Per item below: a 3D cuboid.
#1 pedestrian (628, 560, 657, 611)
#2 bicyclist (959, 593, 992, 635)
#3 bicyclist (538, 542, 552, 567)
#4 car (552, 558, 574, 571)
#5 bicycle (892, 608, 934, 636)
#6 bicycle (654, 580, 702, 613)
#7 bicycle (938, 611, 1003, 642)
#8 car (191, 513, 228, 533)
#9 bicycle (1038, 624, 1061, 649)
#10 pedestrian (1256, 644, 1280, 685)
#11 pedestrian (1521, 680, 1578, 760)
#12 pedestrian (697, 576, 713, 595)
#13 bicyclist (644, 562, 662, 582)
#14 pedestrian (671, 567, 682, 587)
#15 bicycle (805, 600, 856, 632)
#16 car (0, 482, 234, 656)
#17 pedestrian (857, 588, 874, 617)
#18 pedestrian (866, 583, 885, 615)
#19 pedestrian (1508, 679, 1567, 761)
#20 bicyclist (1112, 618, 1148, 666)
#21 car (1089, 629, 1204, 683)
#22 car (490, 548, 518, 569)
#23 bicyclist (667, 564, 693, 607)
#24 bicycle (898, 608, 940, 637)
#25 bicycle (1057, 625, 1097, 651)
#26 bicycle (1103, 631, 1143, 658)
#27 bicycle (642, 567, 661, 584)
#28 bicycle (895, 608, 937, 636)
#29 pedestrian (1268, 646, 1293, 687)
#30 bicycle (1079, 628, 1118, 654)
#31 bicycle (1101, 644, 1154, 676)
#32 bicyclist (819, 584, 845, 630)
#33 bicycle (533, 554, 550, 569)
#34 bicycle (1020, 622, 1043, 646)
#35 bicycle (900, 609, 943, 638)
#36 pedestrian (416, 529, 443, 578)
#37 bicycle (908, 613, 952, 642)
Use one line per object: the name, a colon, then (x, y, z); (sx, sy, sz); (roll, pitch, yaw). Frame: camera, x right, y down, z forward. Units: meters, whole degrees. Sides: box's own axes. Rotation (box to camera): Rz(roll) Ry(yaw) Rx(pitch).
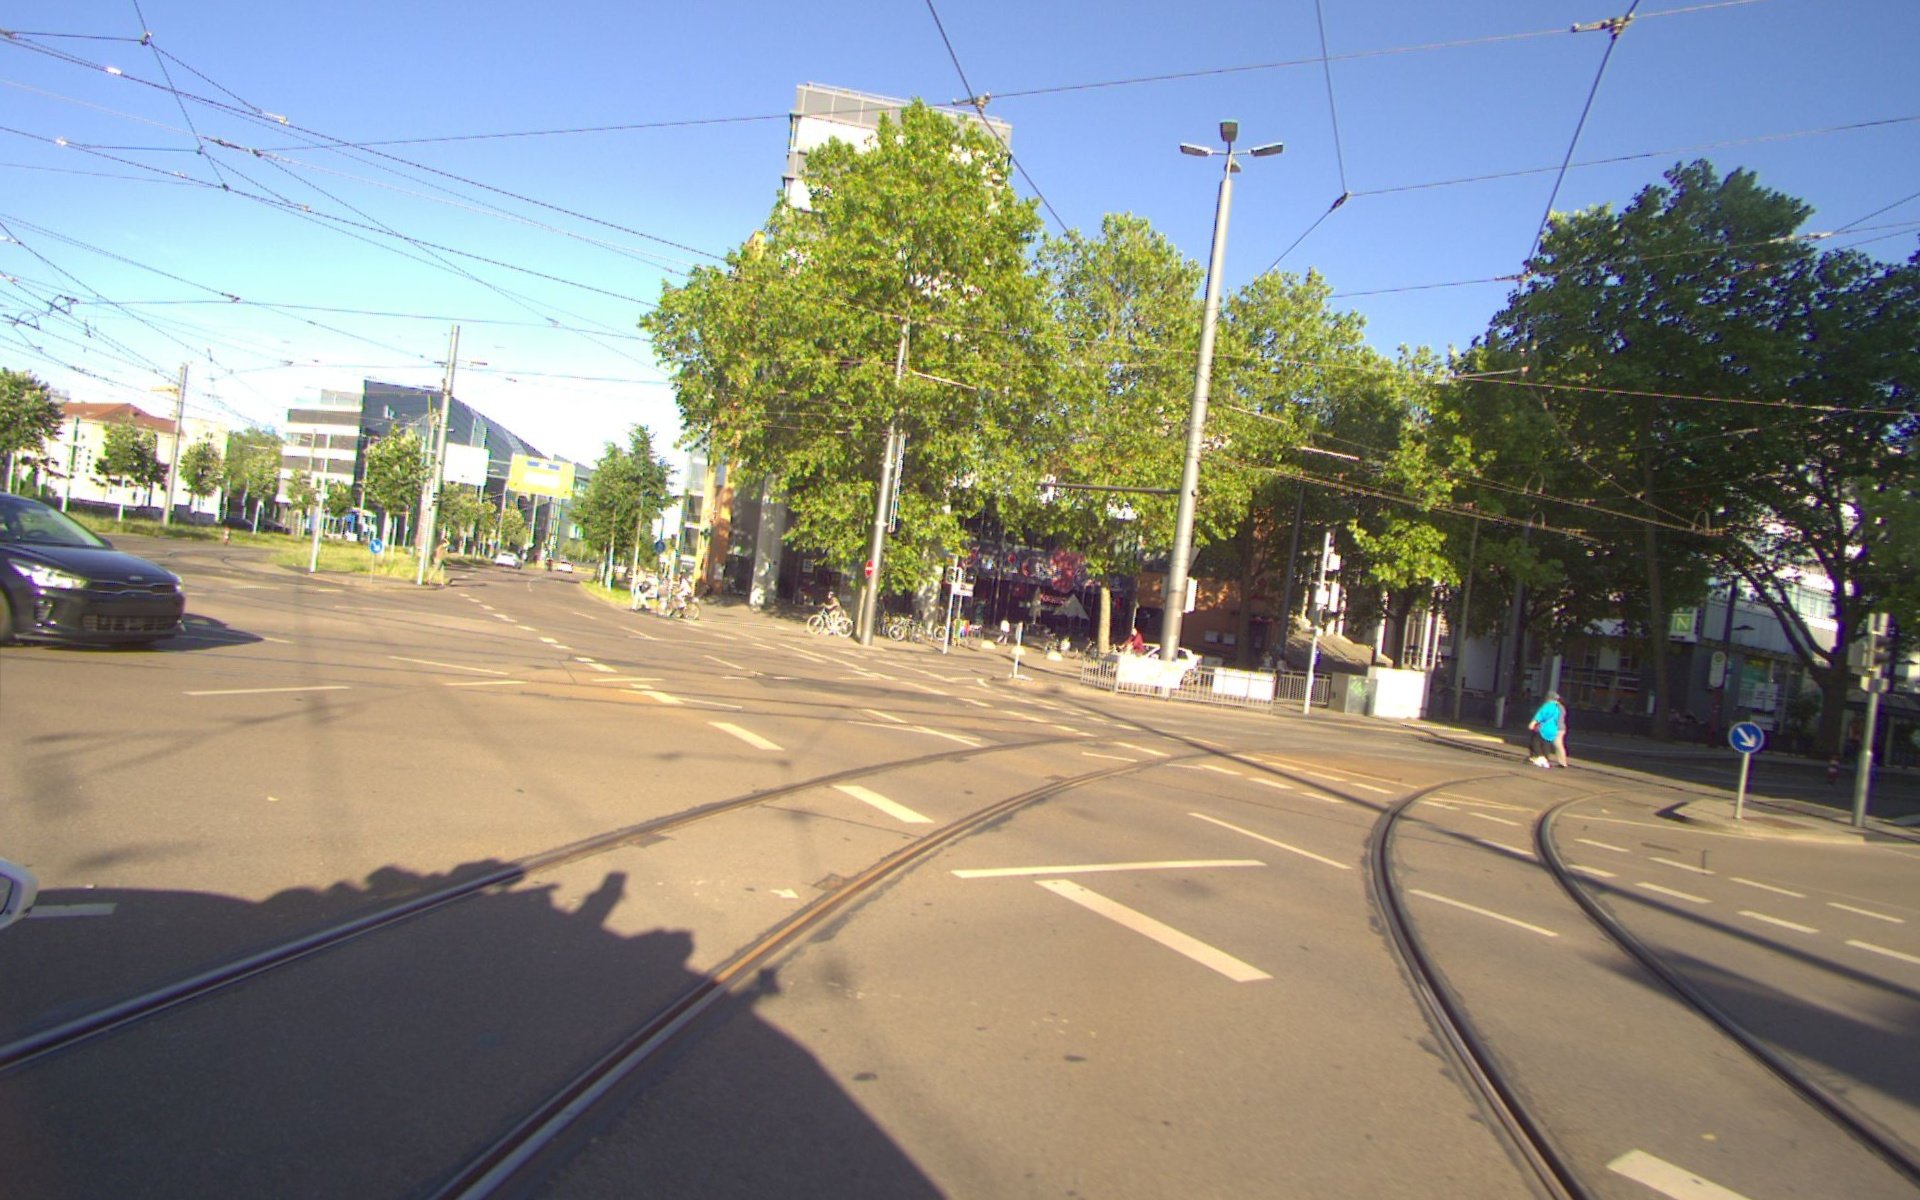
pedestrian: (-12.313, -0.567, 39.009); (0.689, 1.858, 0.515); (8, -1, 2)
bicyclist: (0.770, 0.697, 50.258); (1.212, 1.955, 0.832); (7, 0, -16)
bicyclist: (-47.412, -5.228, 114.911); (1.003, 2.656, 1.468); (7, 0, -13)
car: (-50.013, -4.453, 126.856); (1.991, 1.392, 4.027); (8, -1, -14)
bicycle: (-2.047, 0.958, 44.123); (1.687, 0.998, 0.389); (7, 0, -20)
bicycle: (-10.601, -0.122, 37.816); (1.612, 1.033, 0.513); (7, 0, -24)
bicycle: (0.525, 1.304, 50.213); (3.005, 1.127, 0.832); (8, 0, -16)
car: (-99.317, -10.209, 133.158); (3.926, 2.038, 2.000); (7, 0, 21)
bicycle: (4.563, 1.847, 51.104); (0.861, 1.104, 2.934); (8, 0, 8)
pedestrian: (14.191, 2.982, 46.375); (0.611, 1.798, 0.637); (7, 0, -34)
pedestrian: (12.489, 2.536, 21.318); (0.648, 1.557, 0.734); (9, -1, -41)
pedestrian: (-15.785, -0.915, 62.262); (0.773, 1.070, 0.812); (7, 0, -11)
bicyclist: (-23.793, -2.185, 77.927); (1.029, 1.398, 1.556); (7, 0, -22)
pedestrian: (-23.712, -1.945, 84.213); (0.698, 1.589, 0.620); (7, 1, -19)
bicycle: (-5.059, 0.614, 39.298); (1.834, 1.033, 0.514); (7, 0, -23)
car: (-10.049, -0.484, 10.146); (4.229, 1.484, 1.798); (7, 0, 7)
pedestrian: (-5.242, 0.140, 55.980); (0.765, 1.545, 0.563); (7, 0, -7)
pedestrian: (-5.195, -0.056, 61.491); (0.835, 1.873, 0.809); (9, -1, -7)
pedestrian: (11.931, 2.485, 20.789); (0.673, 1.557, 0.734); (9, -1, -41)
bicyclist: (6.183, 1.521, 36.507); (0.918, 1.635, 0.632); (7, 0, -30)
car: (7.339, 2.191, 39.504); (3.958, 1.503, 1.985); (9, -2, -30)
car: (-43.304, -3.924, 95.514); (1.881, 1.525, 3.984); (9, -2, -19)
bicyclist: (-10.522, -0.557, 37.813); (0.735, 1.521, 0.566); (7, 0, -25)
bicycle: (-1.758, 0.968, 43.259); (1.687, 0.998, 0.389); (7, 0, -20)
bicycle: (5.953, 1.950, 50.931); (0.863, 1.104, 2.929); (8, 0, 29)
bicycle: (8.139, 2.234, 50.102); (0.863, 1.104, 2.929); (8, 0, 29)
bicycle: (-23.934, -1.907, 78.045); (1.029, 1.146, 3.164); (8, -1, -21)
bicycle: (-1.903, 0.962, 43.677); (1.687, 0.998, 0.389); (7, 0, -20)
pedestrian: (14.599, 3.024, 45.792); (0.611, 1.798, 0.637); (7, 0, -34)
bicycle: (7.072, 2.116, 51.134); (0.863, 1.104, 2.929); (8, 0, 29)
bicycle: (6.073, 2.185, 36.487); (1.839, 0.921, 0.647); (8, 0, -30)
bicyclist: (-5.006, 0.277, 39.296); (0.735, 1.715, 0.567); (7, 0, -23)
bicycle: (-47.757, -4.386, 114.842); (1.003, 1.599, 3.566); (7, -1, -12)
bicycle: (3.641, 1.711, 51.103); (0.861, 1.104, 2.934); (8, 0, 8)
bicycle: (-1.633, 0.993, 42.789); (1.687, 0.998, 0.389); (7, 0, -20)
pedestrian: (-18.299, -1.593, 34.716); (0.652, 1.601, 0.485); (7, 1, -30)
bicycle: (-1.248, 1.156, 42.158); (1.687, 0.998, 0.389); (7, 0, -20)
